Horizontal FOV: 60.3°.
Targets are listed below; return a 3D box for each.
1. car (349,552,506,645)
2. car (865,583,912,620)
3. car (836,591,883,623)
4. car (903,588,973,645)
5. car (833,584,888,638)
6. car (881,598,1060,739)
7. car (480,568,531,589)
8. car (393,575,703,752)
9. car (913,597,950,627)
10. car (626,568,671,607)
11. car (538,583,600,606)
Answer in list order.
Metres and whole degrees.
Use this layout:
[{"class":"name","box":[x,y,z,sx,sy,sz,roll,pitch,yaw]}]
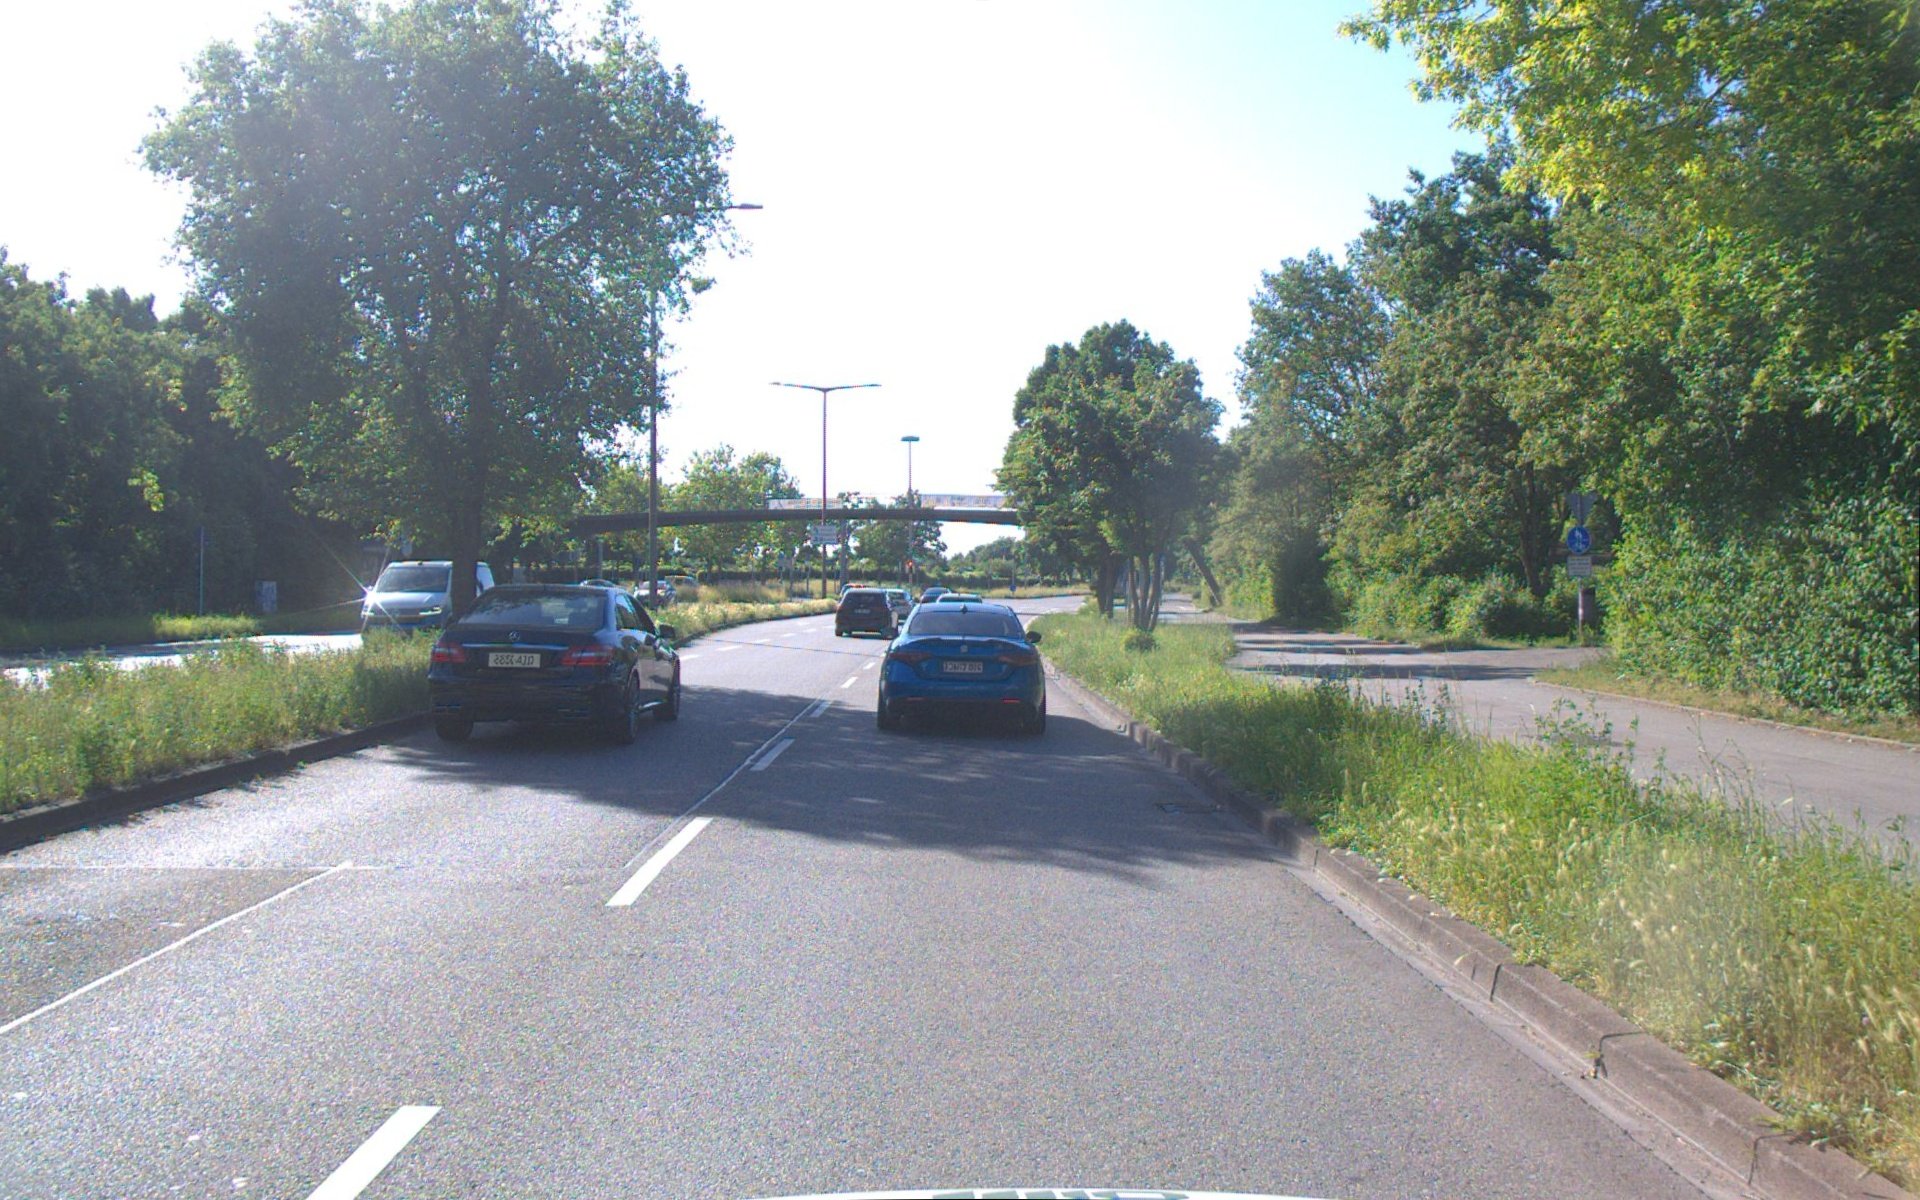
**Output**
[{"class":"car","box":[-12.055,-0.020,37.804,1.953,1.963,5.244,0,0,-1]},{"class":"car","box":[-3.051,0.078,71.160,1.845,1.479,4.525,2,0,-1]},{"class":"car","box":[-5.243,0.376,86.470,1.759,1.583,3.733,2,0,7]},{"class":"car","box":[-0.635,0.441,46.745,1.845,1.479,4.525,2,0,-1]},{"class":"car","box":[-3.200,0.353,53.180,1.674,1.626,4.221,2,0,-4]},{"class":"car","box":[0.072,0.729,19.457,1.845,1.431,4.223,2,0,-1]},{"class":"car","box":[-47.727,-2.241,173.828,4.686,2.049,2.000,2,0,2]},{"class":"car","box":[-3.945,0.548,16.770,1.919,1.509,4.918,1,0,0]},{"class":"car","box":[-1.526,0.640,88.391,1.845,1.479,4.525,2,0,-1]},{"class":"car","box":[-17.336,-0.681,92.193,1.954,2.049,4.578,2,0,-4]},{"class":"car","box":[-30.415,-0.450,128.580,4.217,1.679,2.001,2,0,19]}]
